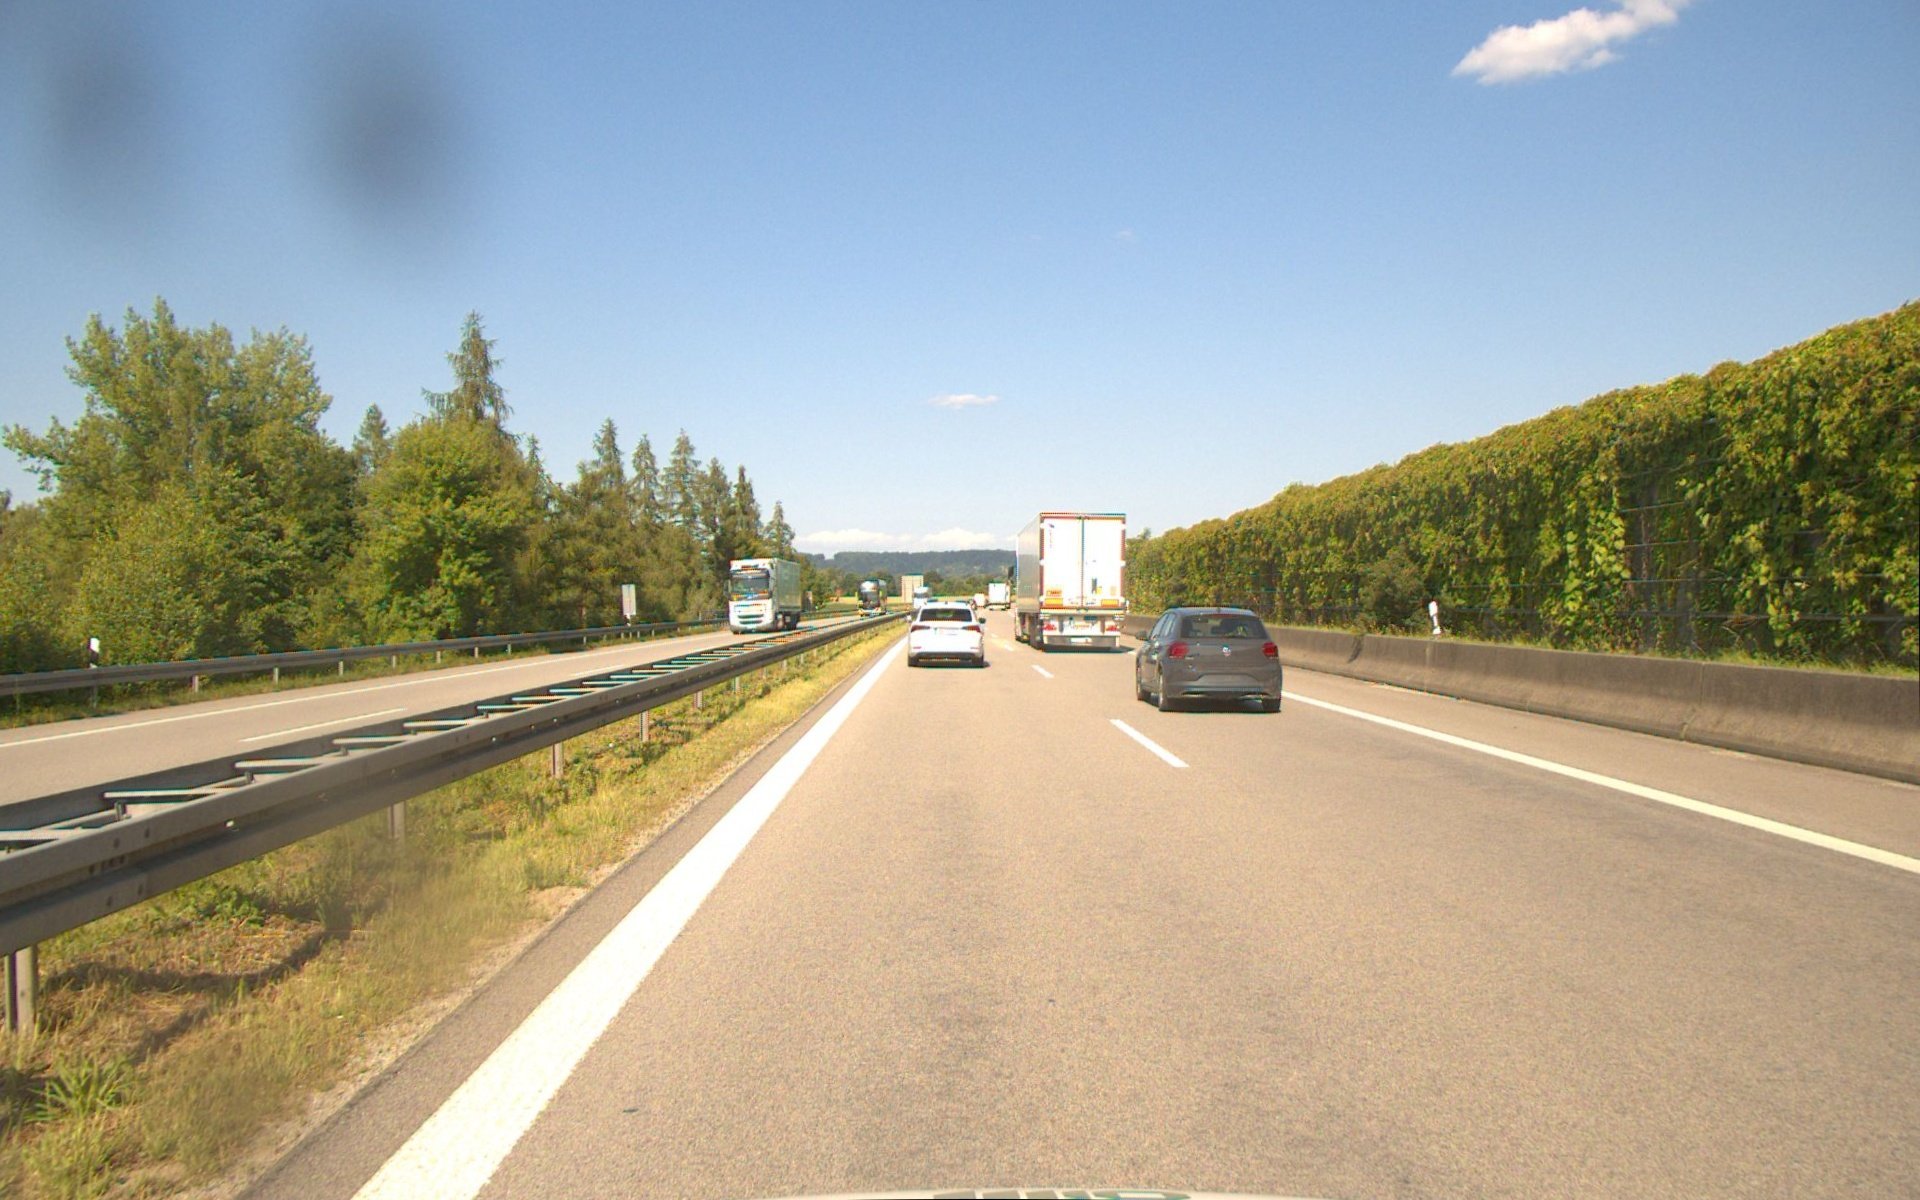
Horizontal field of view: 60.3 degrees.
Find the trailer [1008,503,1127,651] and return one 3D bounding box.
[{"bbox_3d":[3.205,-0.671,53.176,2.761,4.035,14.159,-2,0,0],"label":"trailer"}]

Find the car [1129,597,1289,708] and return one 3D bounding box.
[{"bbox_3d":[3.584,0.704,24.512,1.631,1.480,4.543,0,0,-1],"label":"car"}]

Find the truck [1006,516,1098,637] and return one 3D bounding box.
[{"bbox_3d":[3.230,-0.815,59.913,2.782,4.036,7.043,-2,0,-1],"label":"truck"}]

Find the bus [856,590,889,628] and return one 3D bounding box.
[{"bbox_3d":[-10.049,1.013,191.226,2.876,4.124,14.667,-2,0,0],"label":"bus"}]

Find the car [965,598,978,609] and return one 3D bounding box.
[{"bbox_3d":[1.653,0.512,236.465,1.735,1.446,4.365,0,0,0],"label":"car"}]

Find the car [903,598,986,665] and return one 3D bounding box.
[{"bbox_3d":[-0.372,0.683,39.081,1.803,1.446,5.253,1,0,-1],"label":"car"}]

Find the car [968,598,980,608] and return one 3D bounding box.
[{"bbox_3d":[2.115,0.422,252.965,1.734,1.446,4.366,0,0,2],"label":"car"}]

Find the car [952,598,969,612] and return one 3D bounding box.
[{"bbox_3d":[0.078,0.521,174.637,1.735,1.446,4.495,0,0,0],"label":"car"}]

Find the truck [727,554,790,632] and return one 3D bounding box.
[{"bbox_3d":[-11.139,-0.407,92.029,2.590,4.078,7.192,-2,0,0],"label":"truck"}]

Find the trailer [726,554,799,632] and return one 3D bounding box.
[{"bbox_3d":[-11.242,-0.401,95.588,2.607,4.078,14.085,-2,0,-1],"label":"trailer"}]

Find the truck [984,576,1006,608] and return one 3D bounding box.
[{"bbox_3d":[5.243,-1.215,247.260,3.087,4.693,8.905,-1,0,1],"label":"truck"}]
